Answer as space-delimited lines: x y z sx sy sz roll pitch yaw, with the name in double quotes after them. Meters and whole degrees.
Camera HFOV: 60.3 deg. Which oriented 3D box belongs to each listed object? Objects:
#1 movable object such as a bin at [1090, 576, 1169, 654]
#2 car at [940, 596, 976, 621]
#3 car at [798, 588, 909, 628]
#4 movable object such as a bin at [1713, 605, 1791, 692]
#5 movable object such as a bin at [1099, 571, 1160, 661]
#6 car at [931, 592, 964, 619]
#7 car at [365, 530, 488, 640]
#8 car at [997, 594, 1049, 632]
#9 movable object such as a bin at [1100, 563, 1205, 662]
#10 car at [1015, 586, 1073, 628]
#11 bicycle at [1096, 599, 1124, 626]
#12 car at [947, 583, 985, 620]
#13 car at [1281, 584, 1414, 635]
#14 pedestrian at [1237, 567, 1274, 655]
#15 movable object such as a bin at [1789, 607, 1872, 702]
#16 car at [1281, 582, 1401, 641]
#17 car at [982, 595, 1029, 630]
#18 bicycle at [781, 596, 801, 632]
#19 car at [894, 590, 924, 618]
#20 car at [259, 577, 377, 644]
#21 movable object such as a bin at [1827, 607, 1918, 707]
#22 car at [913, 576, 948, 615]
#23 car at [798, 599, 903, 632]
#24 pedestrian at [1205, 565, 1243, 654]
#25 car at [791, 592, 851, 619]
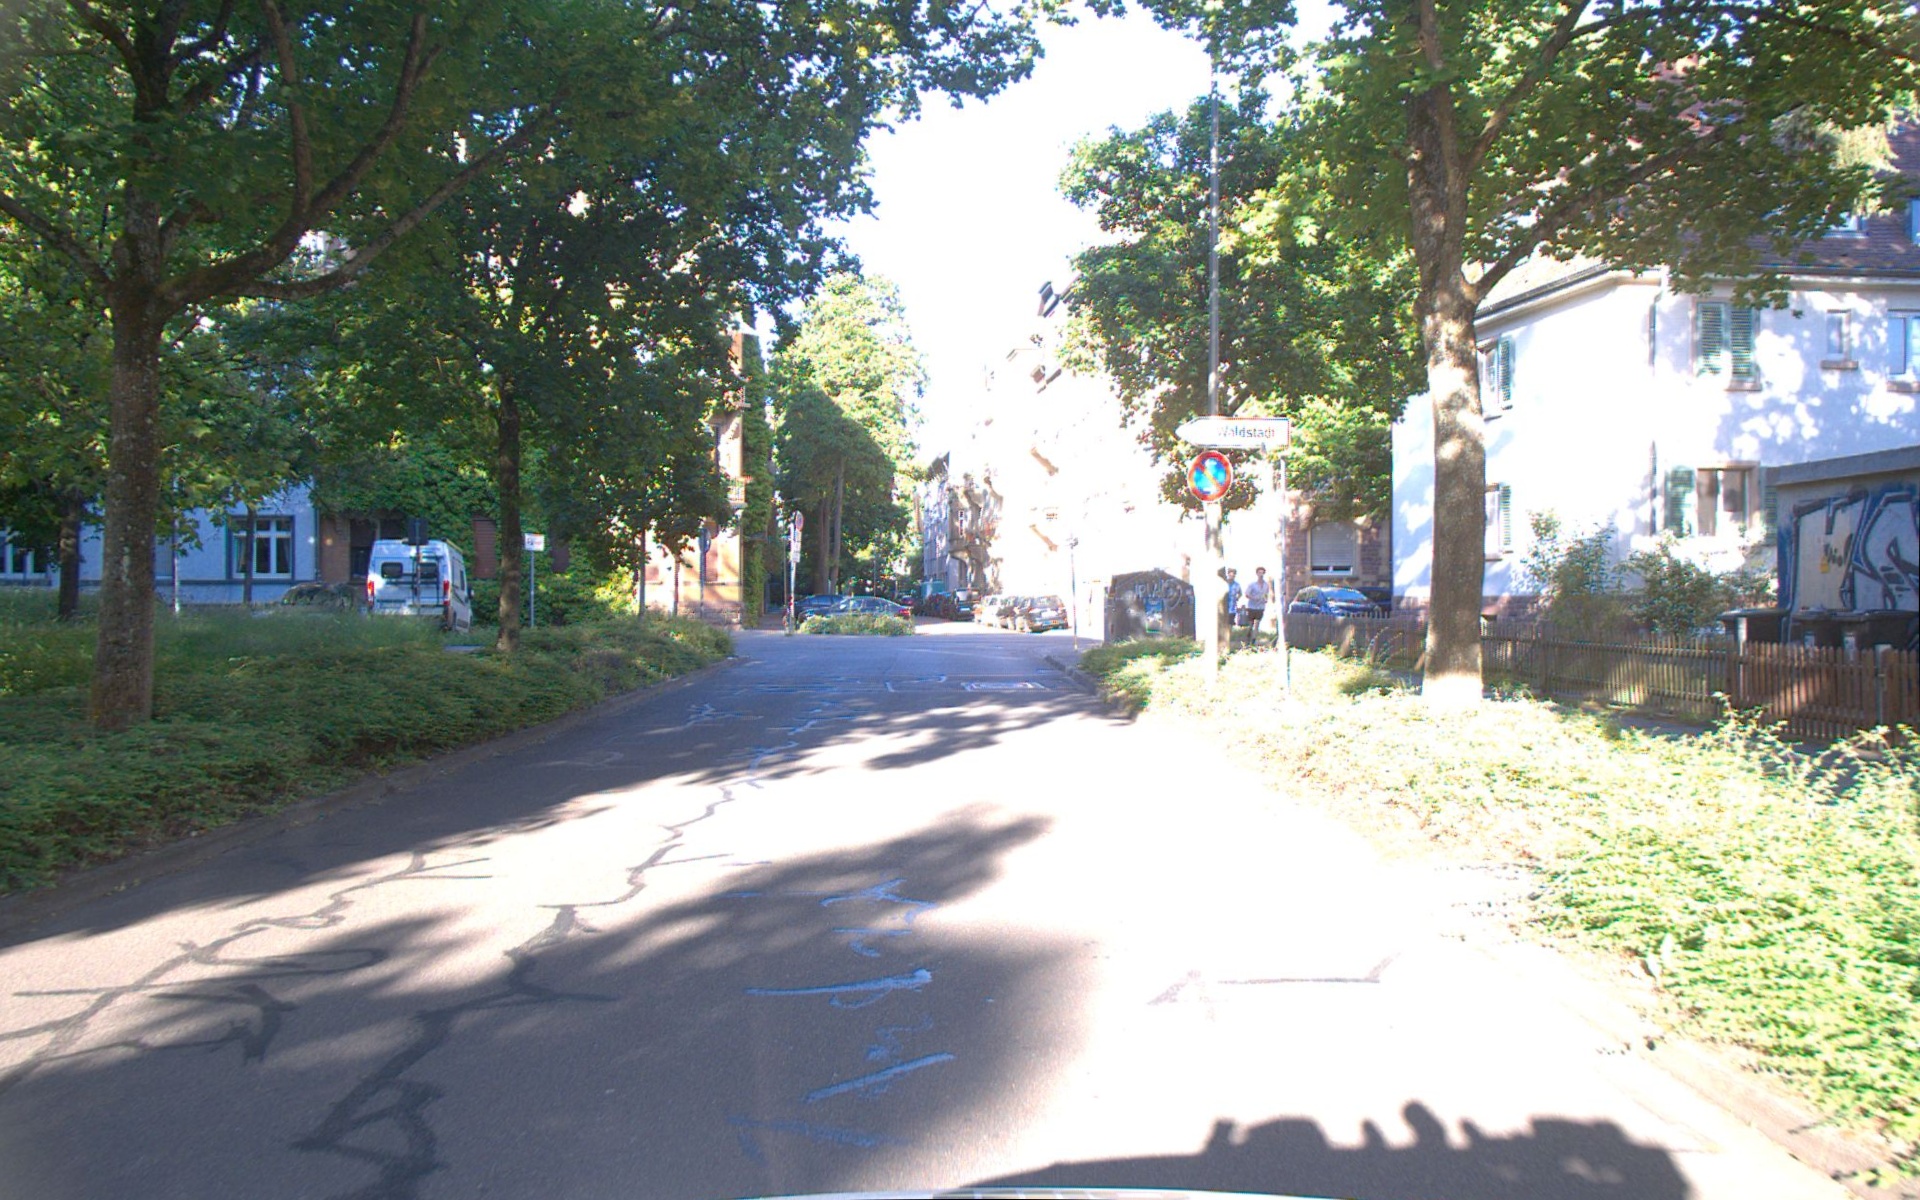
3.791 0.338 37.137 1.554 1.686 1.639 1 0 -1 "movable object such as a bin"
-0.145 0.519 103.382 1.768 1.541 3.995 1 0 -6 "car"
-4.159 0.311 64.361 4.163 1.460 1.996 1 0 -8 "car"
9.841 0.599 20.562 0.630 1.047 0.645 -2 0 -2 "movable object such as a bin"
3.618 0.341 35.375 1.124 1.859 1.386 1 0 -1 "movable object such as a bin"
-0.858 0.376 110.080 1.768 1.708 3.995 1 0 -6 "car"
-13.958 -0.364 43.624 2.190 2.660 5.619 1 0 -9 "car"
2.745 0.571 72.584 1.704 1.609 3.995 1 0 -6 "car"
3.797 0.247 32.770 1.881 1.886 1.393 1 0 -1 "movable object such as a bin"
3.331 0.279 66.503 1.704 1.609 3.995 1 0 -6 "car"
5.720 0.475 63.034 0.506 1.015 1.568 1 0 -18 "bicycle"
0.331 0.096 94.951 1.768 2.039 3.995 1 0 -6 "car"
13.516 0.332 57.803 4.168 1.650 1.731 1 1 -11 "car"
6.642 0.249 37.194 0.629 1.927 1.018 1 -1 -1 "pedestrian"
9.864 0.610 18.753 0.602 1.047 0.594 -2 0 -2 "movable object such as a bin"
10.787 0.374 47.145 1.957 1.583 3.990 1 -2 -10 "car"
2.131 0.583 78.053 1.704 1.609 3.995 1 0 -6 "car"
-6.139 0.507 60.133 0.551 1.290 1.603 -1 0 1 "bicycle"
-4.227 0.347 137.312 2.124 2.276 4.784 1 0 -6 "car"
-16.488 0.265 42.685 1.936 1.602 4.290 1 0 -9 "car"
9.883 0.605 17.926 0.593 1.047 0.640 -2 0 -2 "movable object such as a bin"
-2.147 -0.317 120.319 2.124 2.738 4.784 1 0 -6 "car"
-5.089 0.706 76.813 4.744 1.460 1.707 1 0 -8 "car"
5.831 0.217 36.524 0.659 1.927 0.895 1 -1 -1 "pedestrian"
-8.911 0.348 105.948 3.730 1.603 1.707 1 0 -8 "car"
